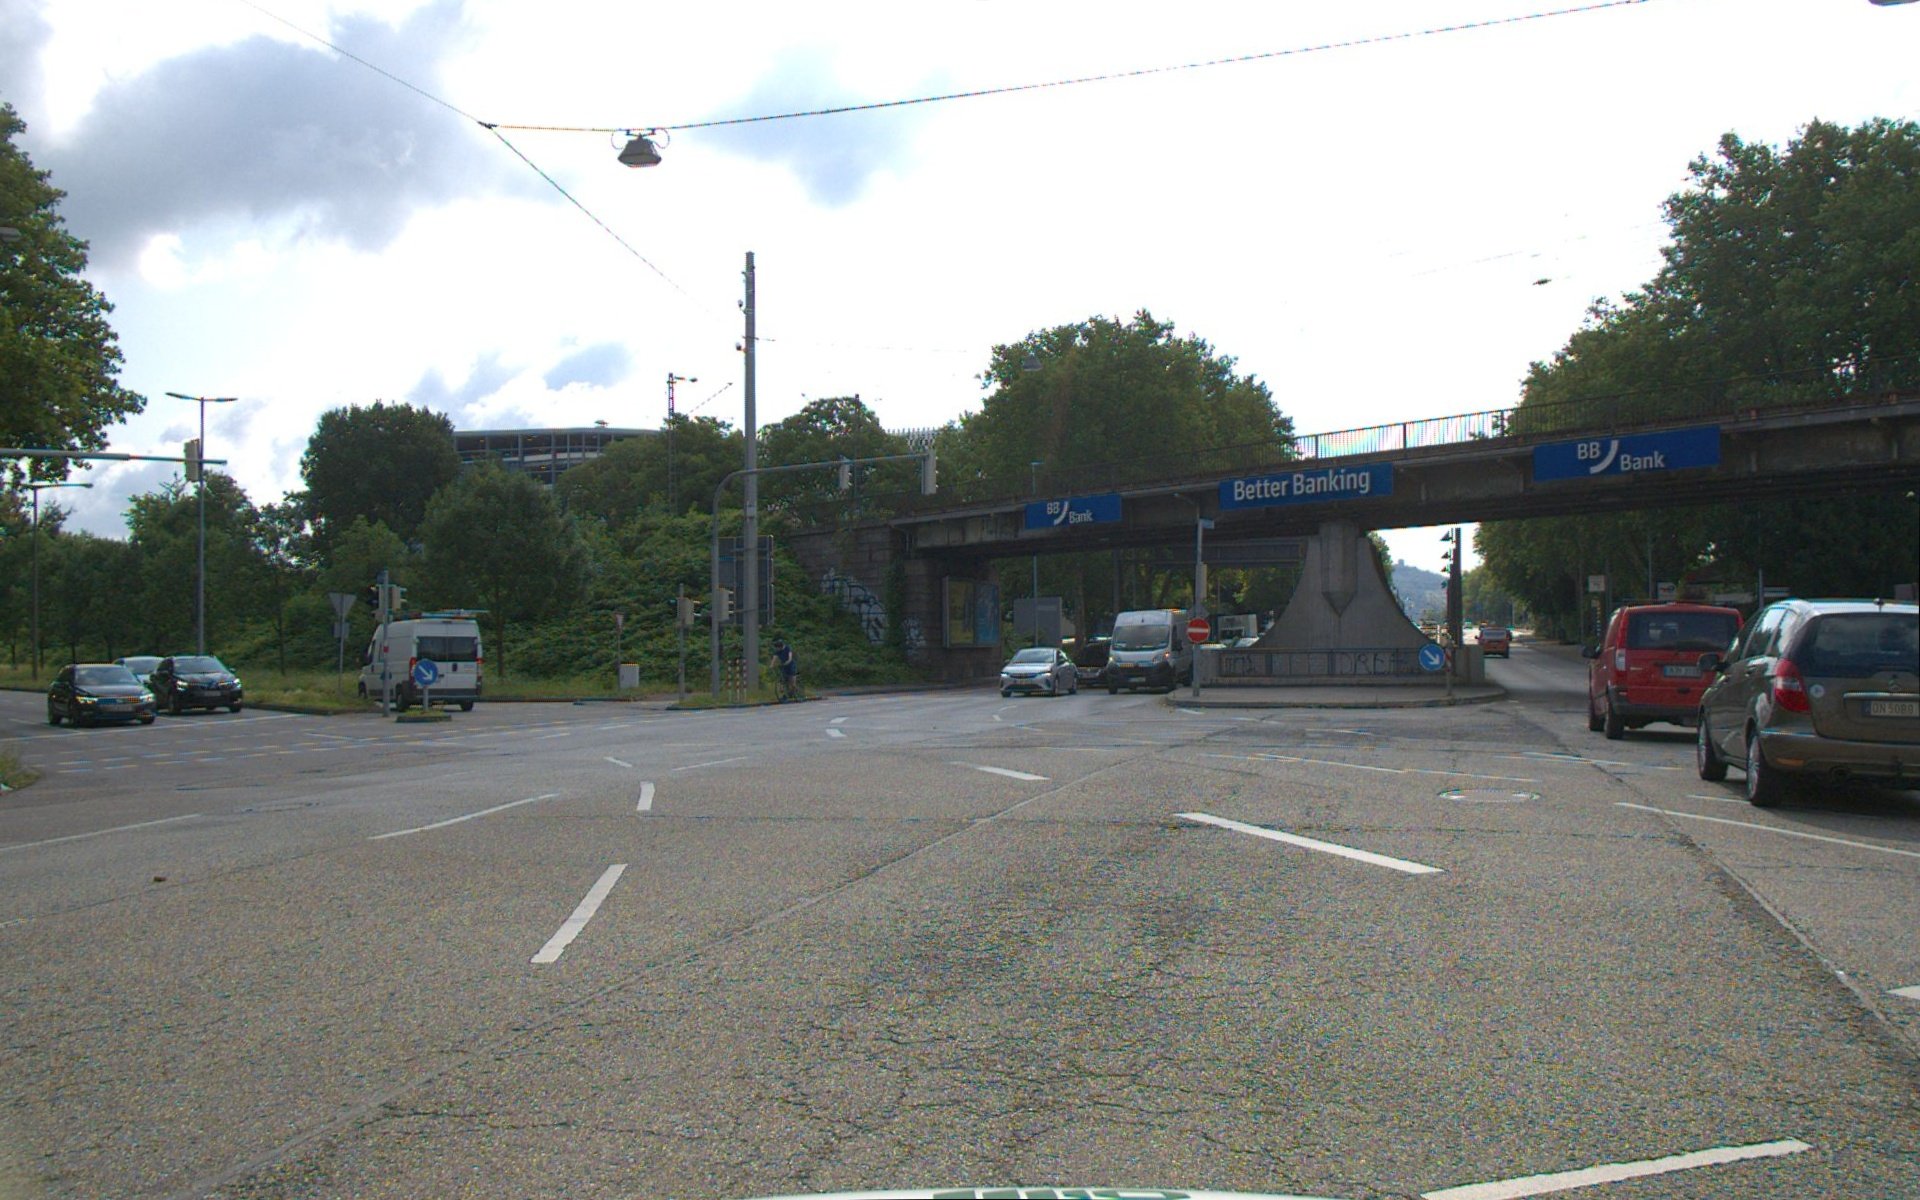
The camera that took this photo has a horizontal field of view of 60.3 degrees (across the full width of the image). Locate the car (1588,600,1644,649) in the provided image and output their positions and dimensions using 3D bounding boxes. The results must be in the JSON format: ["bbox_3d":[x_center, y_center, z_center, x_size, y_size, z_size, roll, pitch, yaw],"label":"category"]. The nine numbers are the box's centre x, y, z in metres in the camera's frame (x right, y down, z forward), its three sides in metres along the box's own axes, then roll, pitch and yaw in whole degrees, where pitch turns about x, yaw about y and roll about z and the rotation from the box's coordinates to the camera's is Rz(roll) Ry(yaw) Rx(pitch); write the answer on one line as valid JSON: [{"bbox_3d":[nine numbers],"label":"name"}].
[{"bbox_3d":[22.574,0.818,57.015,1.739,1.585,4.000,0,0,21],"label":"car"}]

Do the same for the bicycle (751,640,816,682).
[{"bbox_3d":[-5.059,1.738,47.606,0.825,1.112,2.317,-1,-1,24],"label":"bicycle"}]

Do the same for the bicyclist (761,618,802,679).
[{"bbox_3d":[-5.117,1.379,47.499,0.825,1.708,0.823,-1,0,24],"label":"bicyclist"}]

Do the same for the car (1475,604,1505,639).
[{"bbox_3d":[33.651,1.366,104.983,1.761,2.161,3.767,0,0,18],"label":"car"}]

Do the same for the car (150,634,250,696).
[{"bbox_3d":[-21.297,1.807,46.257,1.695,1.615,4.304,0,-2,-37],"label":"car"}]

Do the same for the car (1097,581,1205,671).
[{"bbox_3d":[5.994,0.760,51.337,2.210,2.570,5.629,-2,0,18],"label":"car"}]

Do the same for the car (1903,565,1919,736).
[{"bbox_3d":[11.360,0.555,16.936,1.953,1.935,4.511,0,-1,16],"label":"car"}]

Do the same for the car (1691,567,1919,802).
[{"bbox_3d":[7.175,0.617,13.456,1.754,1.637,3.801,1,0,16],"label":"car"}]

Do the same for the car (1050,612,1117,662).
[{"bbox_3d":[4.434,1.281,58.717,1.727,1.611,4.668,-2,0,12],"label":"car"}]

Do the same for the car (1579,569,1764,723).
[{"bbox_3d":[10.557,0.641,24.853,1.914,2.052,4.679,1,0,16],"label":"car"}]

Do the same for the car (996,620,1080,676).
[{"bbox_3d":[2.404,1.425,50.181,1.666,1.502,4.003,-3,-1,15],"label":"car"}]

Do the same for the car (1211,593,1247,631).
[{"bbox_3d":[19.851,0.842,121.927,2.197,2.623,5.630,-3,-1,12],"label":"car"}]

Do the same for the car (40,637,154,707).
[{"bbox_3d":[-21.447,1.739,41.012,1.850,1.601,4.509,0,-1,-36],"label":"car"}]

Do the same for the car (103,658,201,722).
[{"bbox_3d":[-25.236,2.758,51.593,1.980,1.758,3.944,0,0,-39],"label":"car"}]

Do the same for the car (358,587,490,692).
[{"bbox_3d":[-15.124,1.087,46.481,2.180,2.774,4.869,0,-1,-35],"label":"car"}]
